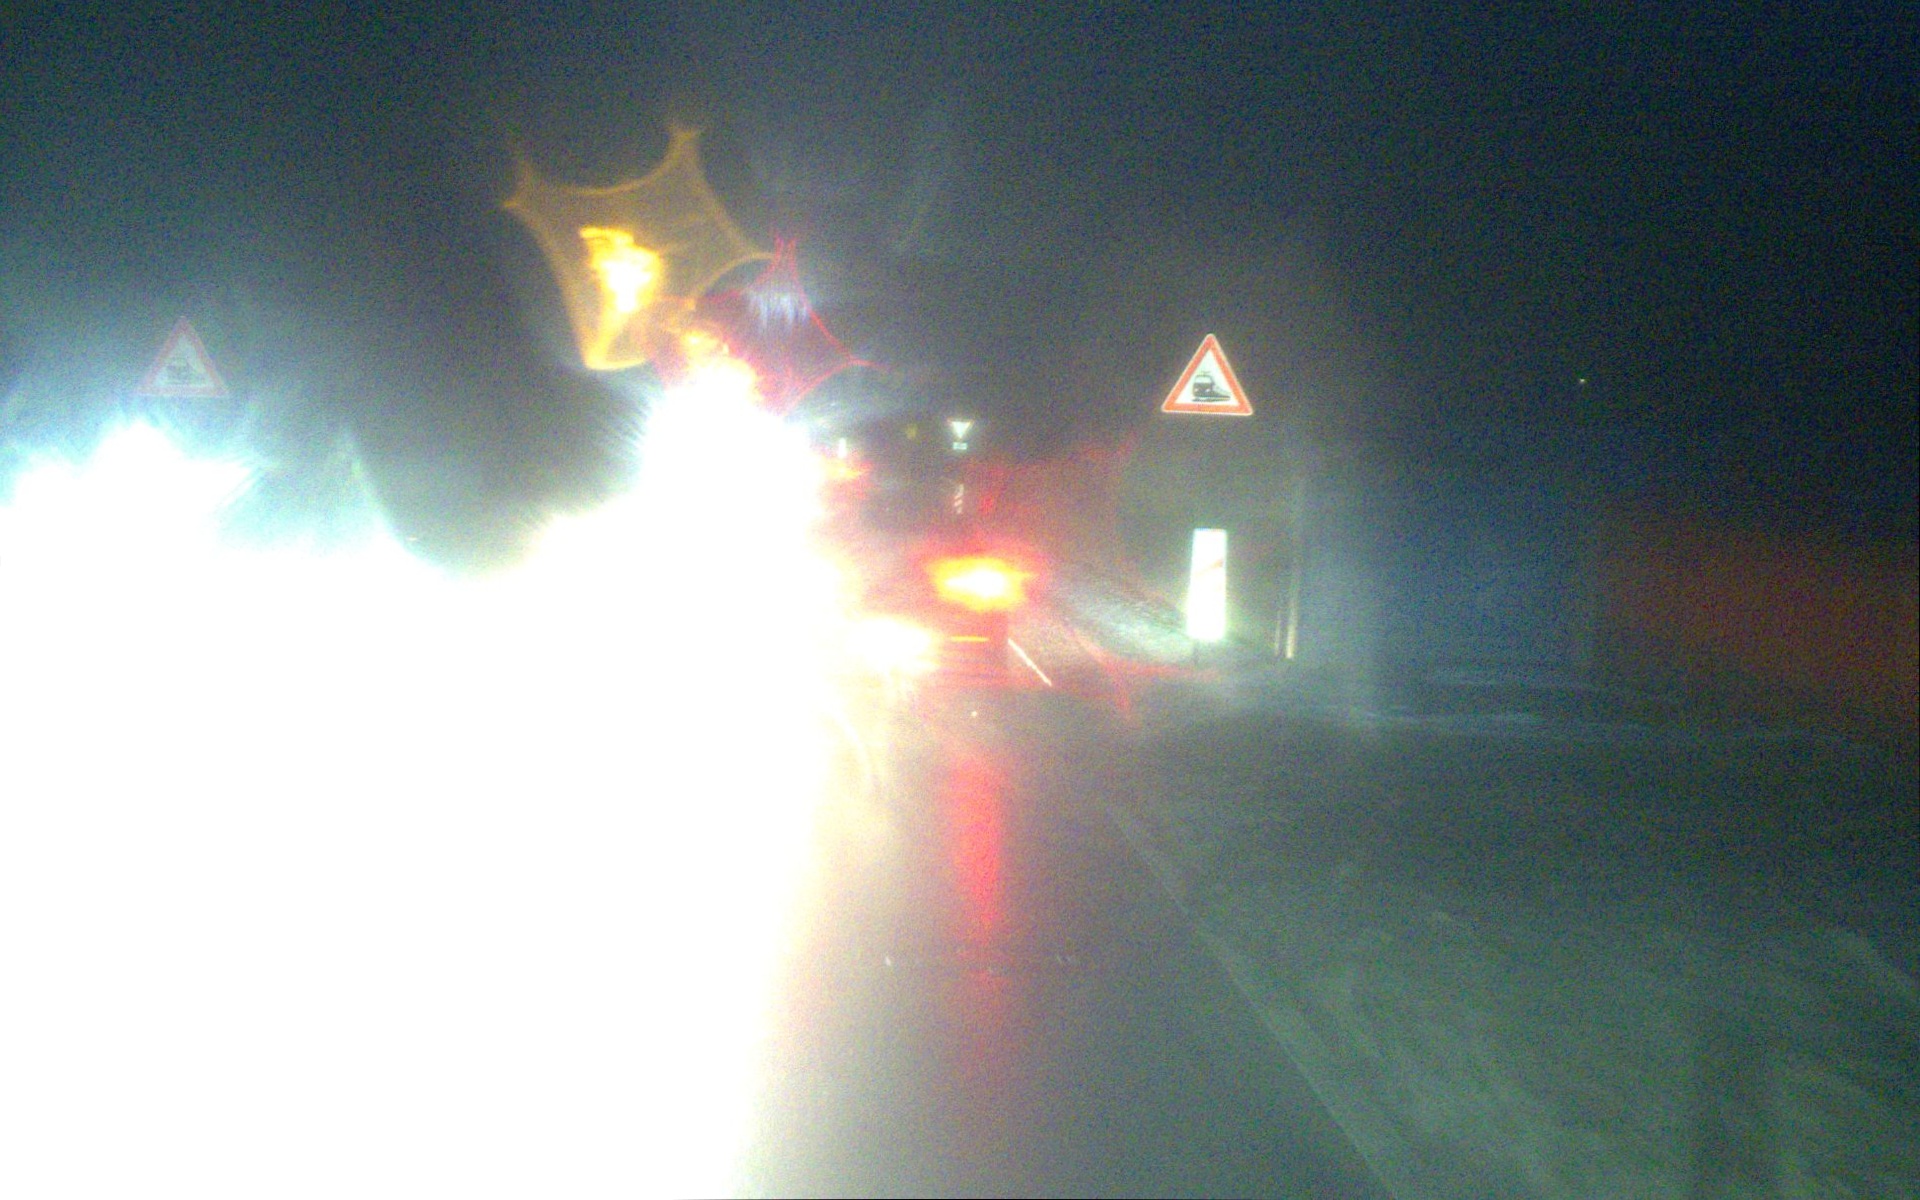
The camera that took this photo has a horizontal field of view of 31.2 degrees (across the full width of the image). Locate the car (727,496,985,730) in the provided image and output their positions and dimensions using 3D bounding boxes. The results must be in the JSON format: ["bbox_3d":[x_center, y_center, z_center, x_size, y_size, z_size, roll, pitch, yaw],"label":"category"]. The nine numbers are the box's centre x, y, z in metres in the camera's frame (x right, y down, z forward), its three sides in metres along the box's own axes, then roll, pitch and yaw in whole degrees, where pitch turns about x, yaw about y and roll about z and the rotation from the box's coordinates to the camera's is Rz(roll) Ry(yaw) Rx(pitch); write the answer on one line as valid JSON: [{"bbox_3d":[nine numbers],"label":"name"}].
[{"bbox_3d":[-0.796,0.051,26.720,1.801,1.623,3.616,2,1,-1],"label":"car"}]

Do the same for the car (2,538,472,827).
[{"bbox_3d":[-4.018,0.389,19.920,1.993,1.455,4.899,1,1,-4],"label":"car"}]

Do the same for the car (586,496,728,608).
[{"bbox_3d":[-4.458,-0.715,50.972,1.801,1.504,3.615,3,1,-1],"label":"car"}]
